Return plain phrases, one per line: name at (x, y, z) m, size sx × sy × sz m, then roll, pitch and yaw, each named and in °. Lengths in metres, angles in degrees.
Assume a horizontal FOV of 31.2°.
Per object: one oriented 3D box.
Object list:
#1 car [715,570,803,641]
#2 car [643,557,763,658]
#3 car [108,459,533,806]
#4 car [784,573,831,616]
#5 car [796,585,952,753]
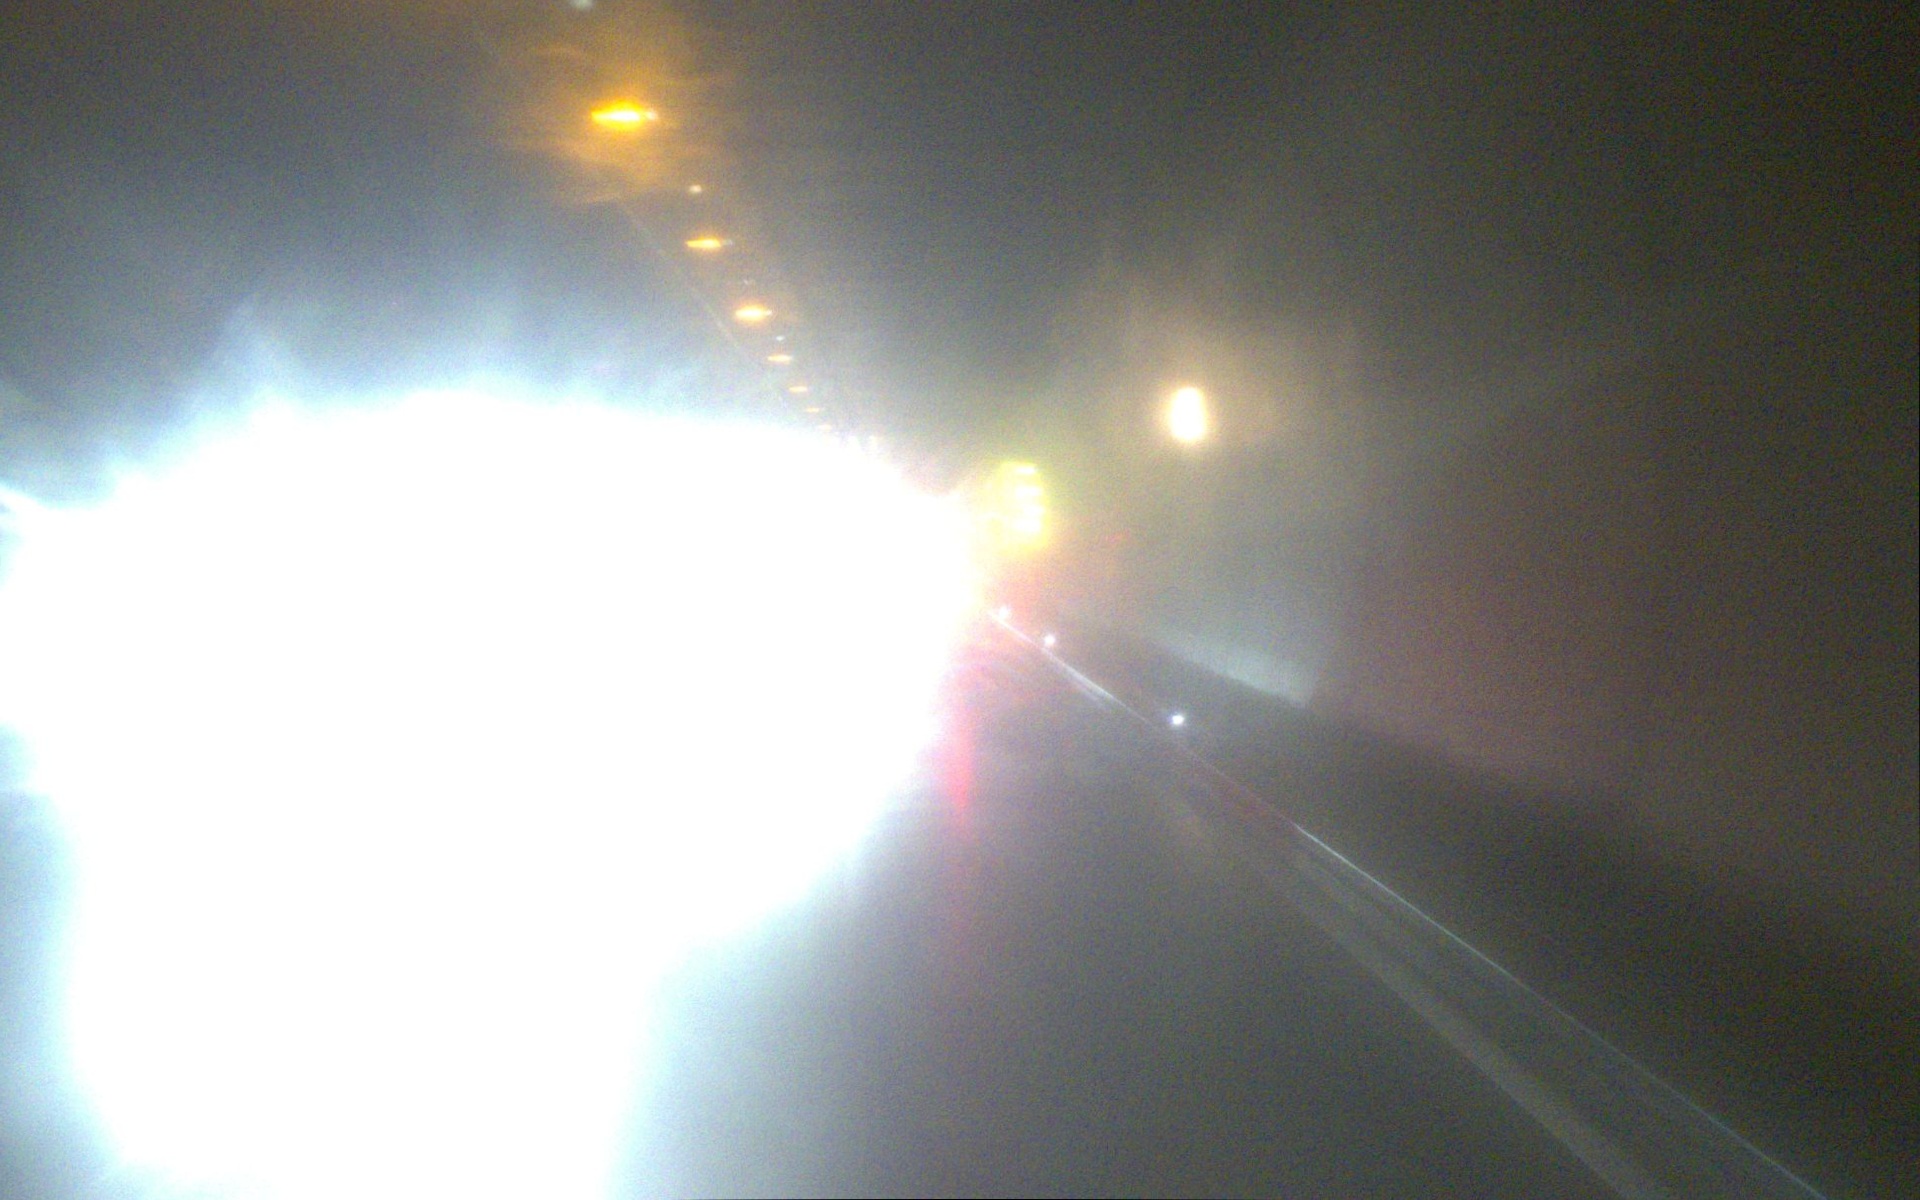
car at (-5.071, 0.117, 86.430) m, size 1.914 × 1.722 × 4.001 m, roll 1°, pitch 0°, yaw -7°
car at (-4.453, 0.101, 60.118) m, size 1.781 × 1.670 × 4.561 m, roll 1°, pitch 0°, yaw -1°
car at (-3.907, 0.159, 21.859) m, size 1.781 × 1.922 × 5.138 m, roll 1°, pitch 0°, yaw -1°
car at (-6.023, -0.231, 135.816) m, size 1.697 × 1.670 × 4.127 m, roll 1°, pitch 0°, yaw -1°
car at (-0.940, 0.722, 38.587) m, size 1.635 × 1.752 × 4.146 m, roll 1°, pitch 0°, yaw -1°
